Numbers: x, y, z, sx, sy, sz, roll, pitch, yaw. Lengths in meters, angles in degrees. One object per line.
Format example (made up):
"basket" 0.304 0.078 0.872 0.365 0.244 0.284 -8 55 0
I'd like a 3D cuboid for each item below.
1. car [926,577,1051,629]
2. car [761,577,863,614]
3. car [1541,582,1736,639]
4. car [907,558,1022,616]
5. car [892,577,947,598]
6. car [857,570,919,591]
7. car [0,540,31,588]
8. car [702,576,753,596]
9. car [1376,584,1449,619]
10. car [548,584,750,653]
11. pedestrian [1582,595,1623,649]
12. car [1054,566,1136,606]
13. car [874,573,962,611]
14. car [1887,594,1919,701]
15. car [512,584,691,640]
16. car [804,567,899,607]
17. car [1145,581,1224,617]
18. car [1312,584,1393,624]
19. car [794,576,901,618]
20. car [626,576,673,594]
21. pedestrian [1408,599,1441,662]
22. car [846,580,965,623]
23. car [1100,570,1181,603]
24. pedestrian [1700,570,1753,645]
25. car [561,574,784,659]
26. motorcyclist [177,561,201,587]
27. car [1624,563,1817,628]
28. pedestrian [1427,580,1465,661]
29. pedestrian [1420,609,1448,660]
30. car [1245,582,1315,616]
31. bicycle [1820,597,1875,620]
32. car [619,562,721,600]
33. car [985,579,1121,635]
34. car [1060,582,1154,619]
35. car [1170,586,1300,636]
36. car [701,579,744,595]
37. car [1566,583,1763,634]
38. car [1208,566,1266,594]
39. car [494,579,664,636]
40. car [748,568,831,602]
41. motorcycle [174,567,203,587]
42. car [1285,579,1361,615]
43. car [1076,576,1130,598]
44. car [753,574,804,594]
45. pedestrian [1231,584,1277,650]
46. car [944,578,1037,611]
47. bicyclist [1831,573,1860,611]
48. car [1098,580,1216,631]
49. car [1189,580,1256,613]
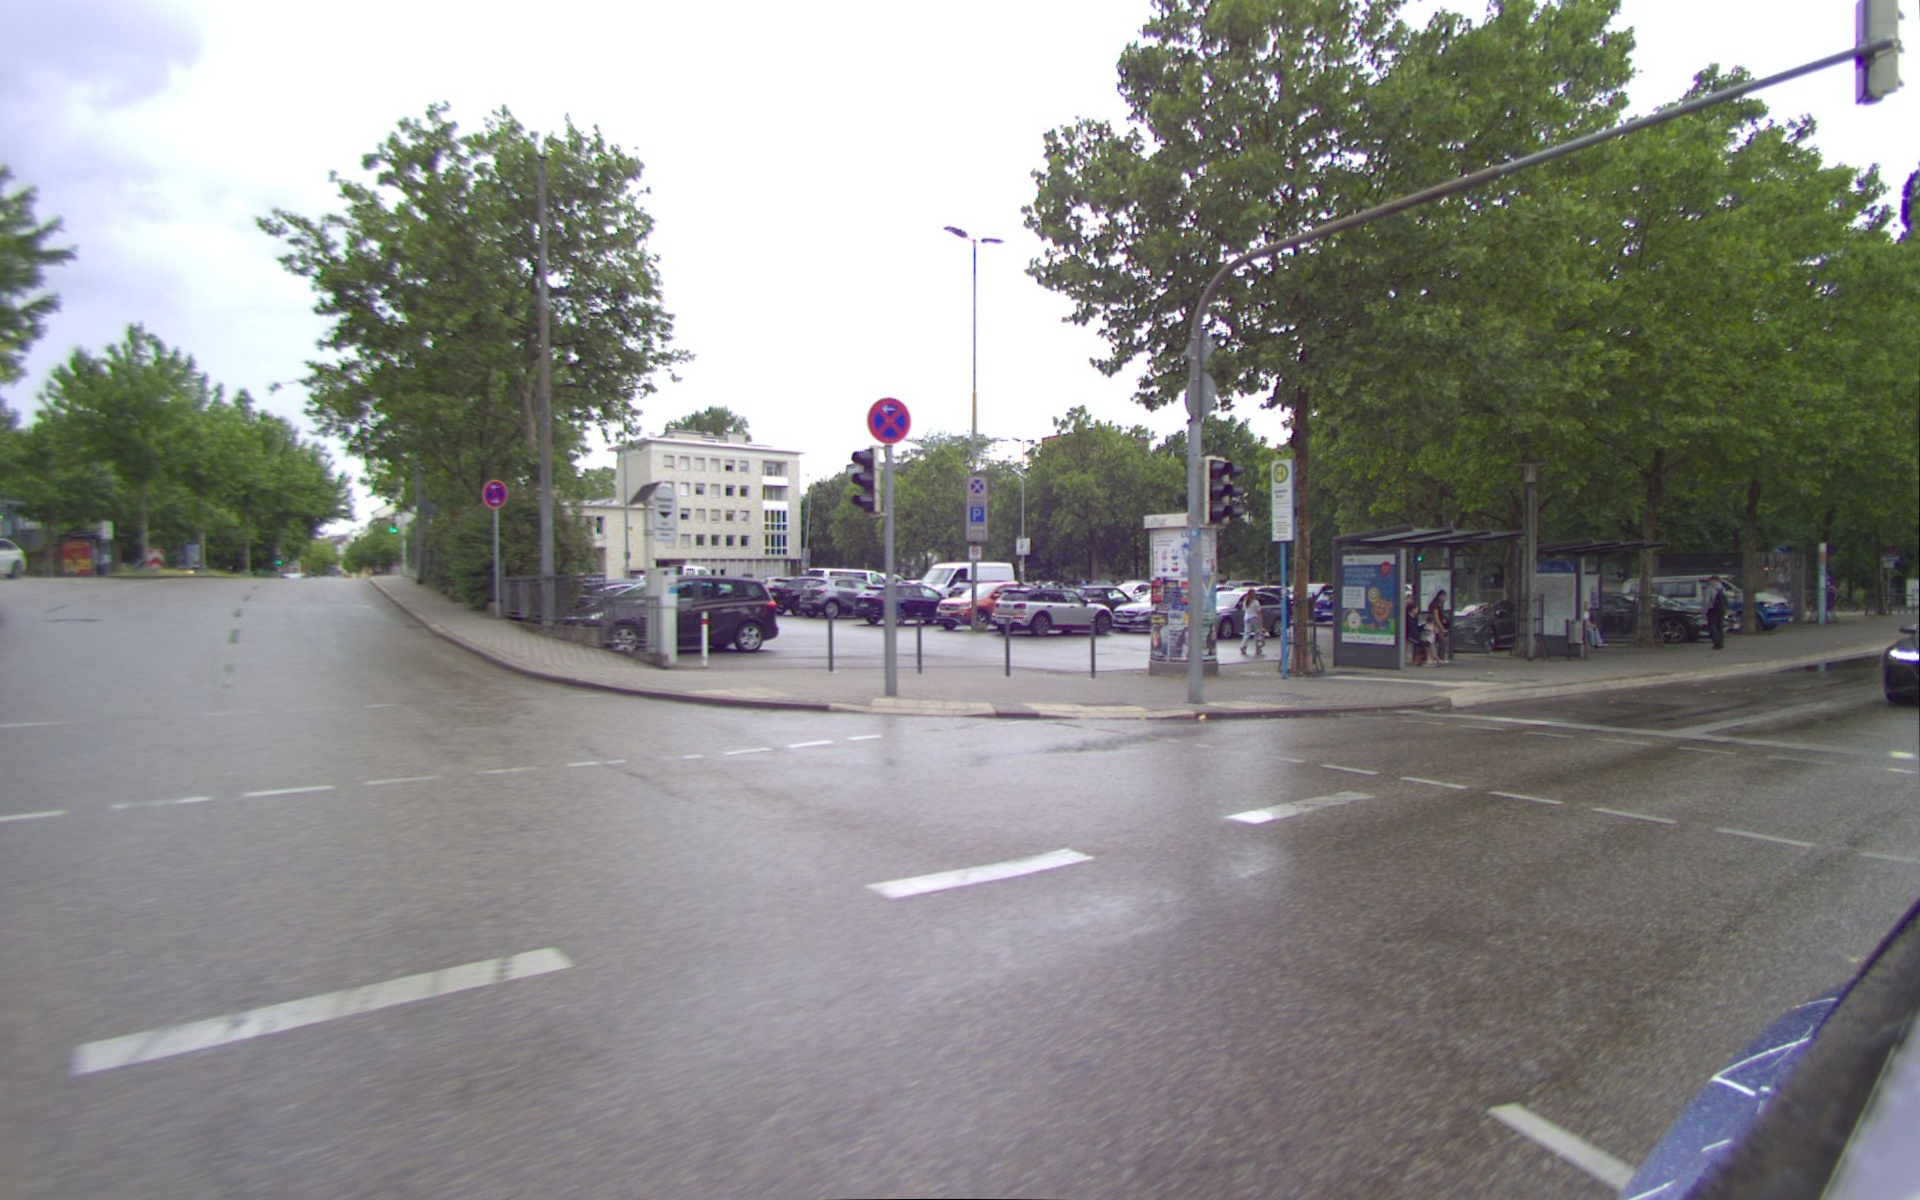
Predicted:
"car" 0.987 0.087 33.594 3.927 1.610 1.762 0 2 -39
"car" -6.222 -0.192 42.678 3.923 1.462 1.662 0 1 -34
"car" 19.921 0.352 29.889 1.830 1.503 4.408 -2 -1 -40
"car" 0.243 -0.572 44.008 4.926 2.348 1.970 0 2 -42
"car" -2.516 -0.810 63.222 1.528 1.251 3.303 2 2 43
"car" -5.298 -1.465 74.938 4.431 1.442 1.638 -2 1 -40
"car" -34.685 -1.259 35.065 1.958 1.673 4.886 0 2 -20
"car" -19.502 -1.180 84.997 3.861 1.566 1.638 -2 1 -40
"car" 19.639 0.051 43.868 3.772 1.445 1.529 0 2 -43
"car" -7.271 0.368 23.863 4.185 1.458 1.855 -1 2 -38
"pedestrian" 16.468 0.551 25.942 0.613 1.338 0.634 -2 0 -23
"car" 7.714 -0.809 57.698 4.799 2.181 1.970 0 2 -42
"car" -1.965 -0.394 47.602 3.832 1.688 1.807 0 2 -40
"car" 14.992 0.603 14.296 4.278 1.422 1.897 -1 0 -35
"car" -9.620 0.259 27.313 4.185 1.371 1.855 -1 2 -38
"car" -5.238 -0.632 48.976 4.287 1.853 1.832 0 2 -40
"car" 10.129 -0.044 45.549 3.567 1.523 1.531 0 1 -39
"car" 15.729 0.130 40.546 3.297 1.440 1.639 -3 1 -40
"car" -4.498 -0.137 40.636 3.923 1.585 1.763 0 1 -34
"car" -29.093 -1.421 94.741 3.861 1.566 1.638 -2 1 -40
"pedestrian" 9.668 0.628 21.073 0.394 1.287 0.500 0 0 -35
"car" -1.934 0.036 36.275 3.923 1.467 1.763 0 1 -34
"car" 9.944 -0.737 55.668 4.550 1.691 1.970 0 2 -42
"pedestrian" 19.395 0.184 25.618 0.721 1.865 0.756 -2 0 5
"car" -6.018 0.276 21.432 4.185 1.633 1.804 -1 1 -39
"motorcyclist" -44.517 -1.497 58.451 0.789 1.455 1.243 0 1 -20
"car" 25.849 -0.107 34.601 1.914 1.967 4.850 -2 -1 -34
"pedestrian" 10.418 0.426 21.692 0.531 1.717 0.555 0 0 1
"pedestrian" 9.983 0.724 21.302 0.363 1.048 0.401 0 0 -35
"car" 15.821 -0.059 49.983 3.567 1.577 1.531 0 1 -39
"bicycle" 43.138 0.408 49.225 1.922 1.108 0.642 0 1 37
"car" -18.585 -1.212 65.146 5.939 2.389 2.229 0 2 -41
"car" 2.897 0.185 31.221 4.101 1.610 1.762 0 2 -39
"car" 5.329 0.017 36.543 3.294 1.251 1.531 0 2 -39
"car" 8.754 0.310 32.024 4.364 1.458 1.737 0 2 -39
"car" -22.707 -1.253 96.736 3.603 1.442 1.639 -2 1 -38
"car" 22.195 0.302 32.104 1.827 1.423 4.752 -2 -1 -34
"car" 18.349 -1.347 67.008 3.812 1.709 1.780 -2 1 -38
"car" -10.841 0.167 28.935 4.185 1.498 1.855 -1 2 -38
"car" -9.672 -0.837 57.611 4.287 1.853 1.832 0 2 -40
"motorcycle" -44.466 -1.357 58.367 0.559 1.132 2.695 0 1 -20
"car" 16.934 -0.146 47.203 3.541 1.612 1.533 0 1 -34
"car" 9.814 -0.899 69.465 3.534 1.442 1.639 -2 1 -38
"car" -14.996 -1.352 83.843 3.861 1.566 1.638 -2 1 -40
"pedestrian" 7.472 0.417 25.765 0.845 1.653 0.767 0 0 -36
"car" 1.240 -0.234 40.266 3.567 1.251 1.531 0 2 -39
"bicyclist" 43.054 -0.401 49.230 0.982 1.792 0.787 -1 1 36
"car" 6.678 0.153 34.182 3.927 1.610 1.762 0 2 -39
"car" 13.601 -0.175 52.370 3.544 1.612 1.532 0 1 -38
